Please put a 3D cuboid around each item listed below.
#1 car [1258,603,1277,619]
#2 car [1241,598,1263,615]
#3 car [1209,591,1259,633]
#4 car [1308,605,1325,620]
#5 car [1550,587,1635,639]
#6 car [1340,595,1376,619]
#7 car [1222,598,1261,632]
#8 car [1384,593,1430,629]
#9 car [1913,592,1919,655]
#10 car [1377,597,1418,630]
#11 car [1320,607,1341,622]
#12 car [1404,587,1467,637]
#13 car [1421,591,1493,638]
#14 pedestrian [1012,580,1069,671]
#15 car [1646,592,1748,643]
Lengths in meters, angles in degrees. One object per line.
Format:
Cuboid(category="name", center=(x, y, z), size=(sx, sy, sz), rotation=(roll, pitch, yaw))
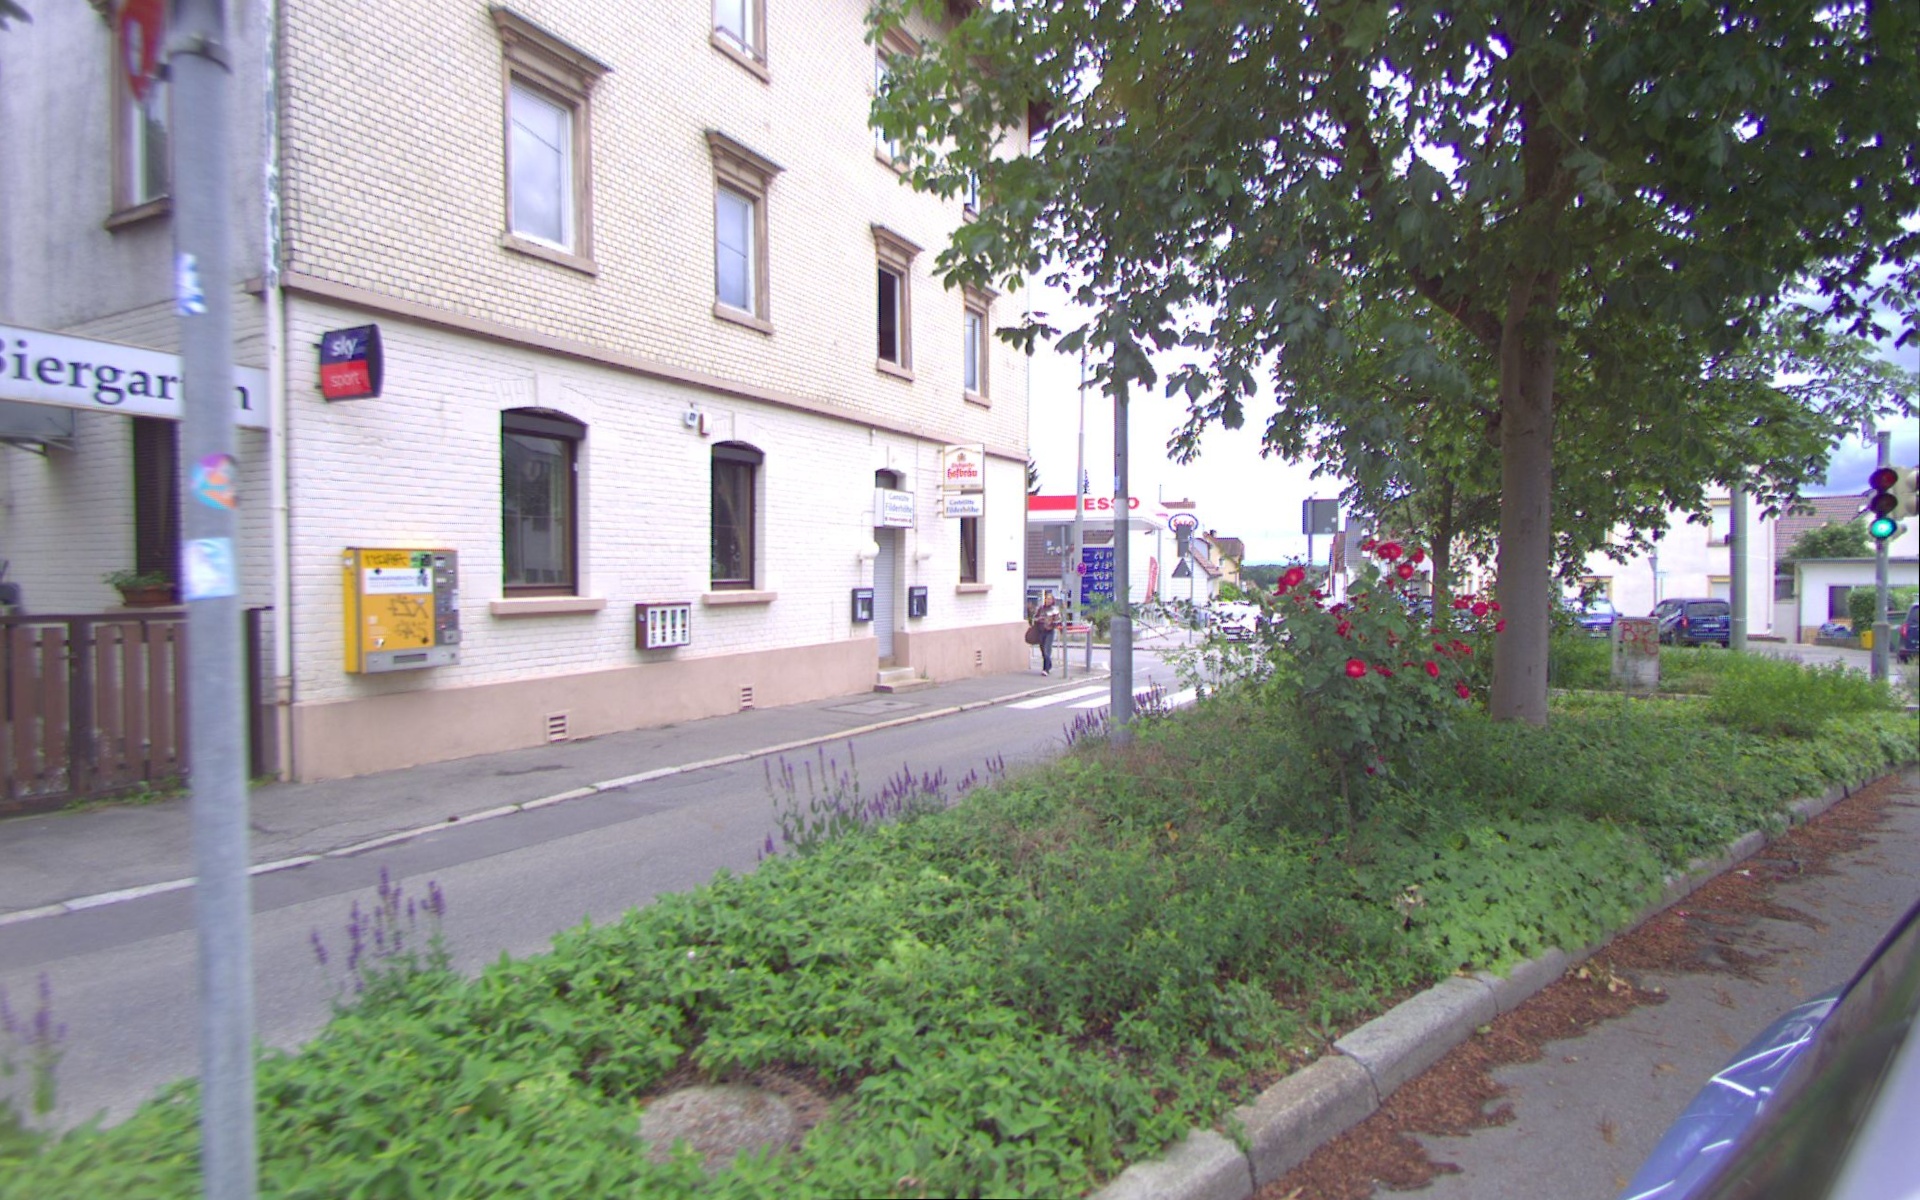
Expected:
Cuboid(category="car", center=(32.508, 1.180, 106.997), size=(1.852, 1.616, 3.876), rotation=(0, -1, 18))
Cuboid(category="car", center=(28.173, 0.667, 97.612), size=(1.852, 1.616, 3.876), rotation=(0, -1, 18))
Cuboid(category="car", center=(11.052, 0.504, 40.635), size=(1.752, 1.498, 3.808), rotation=(3, 0, 17))
Cuboid(category="car", center=(49.301, 1.770, 139.915), size=(1.972, 2.040, 3.979), rotation=(0, -1, 16))
Cuboid(category="car", center=(23.634, 0.511, 37.972), size=(1.881, 1.826, 4.855), rotation=(-1, -1, 22))
Cuboid(category="car", center=(29.604, 0.529, 75.444), size=(2.252, 1.753, 3.975), rotation=(0, -1, 18))
Cuboid(category="car", center=(13.975, 0.740, 50.077), size=(1.700, 1.616, 3.975), rotation=(0, -1, 18))
Cuboid(category="car", center=(22.438, 0.569, 50.908), size=(1.700, 1.753, 3.975), rotation=(0, -1, 18))
Cuboid(category="car", center=(28.681, 0.734, 28.920), size=(4.494, 1.761, 1.749), rotation=(2, 2, -43))
Cuboid(category="car", center=(24.132, 0.734, 55.936), size=(1.700, 1.753, 3.975), rotation=(0, -1, 18))
Cuboid(category="car", center=(44.678, 1.776, 122.185), size=(2.252, 1.753, 3.975), rotation=(0, -1, 18))
Cuboid(category="car", center=(20.481, 0.545, 43.715), size=(1.751, 1.968, 4.299), rotation=(3, 0, 17))
Cuboid(category="car", center=(18.468, 0.550, 37.746), size=(1.751, 1.639, 3.977), rotation=(0, -1, 17))
Cuboid(category="pedestrian", center=(1.620, 0.508, 20.278), size=(0.852, 1.755, 1.012), rotation=(-1, -2, 26))
Cuboid(category="car", center=(27.234, 0.653, 37.532), size=(1.844, 1.750, 3.976), rotation=(0, -1, 18))
